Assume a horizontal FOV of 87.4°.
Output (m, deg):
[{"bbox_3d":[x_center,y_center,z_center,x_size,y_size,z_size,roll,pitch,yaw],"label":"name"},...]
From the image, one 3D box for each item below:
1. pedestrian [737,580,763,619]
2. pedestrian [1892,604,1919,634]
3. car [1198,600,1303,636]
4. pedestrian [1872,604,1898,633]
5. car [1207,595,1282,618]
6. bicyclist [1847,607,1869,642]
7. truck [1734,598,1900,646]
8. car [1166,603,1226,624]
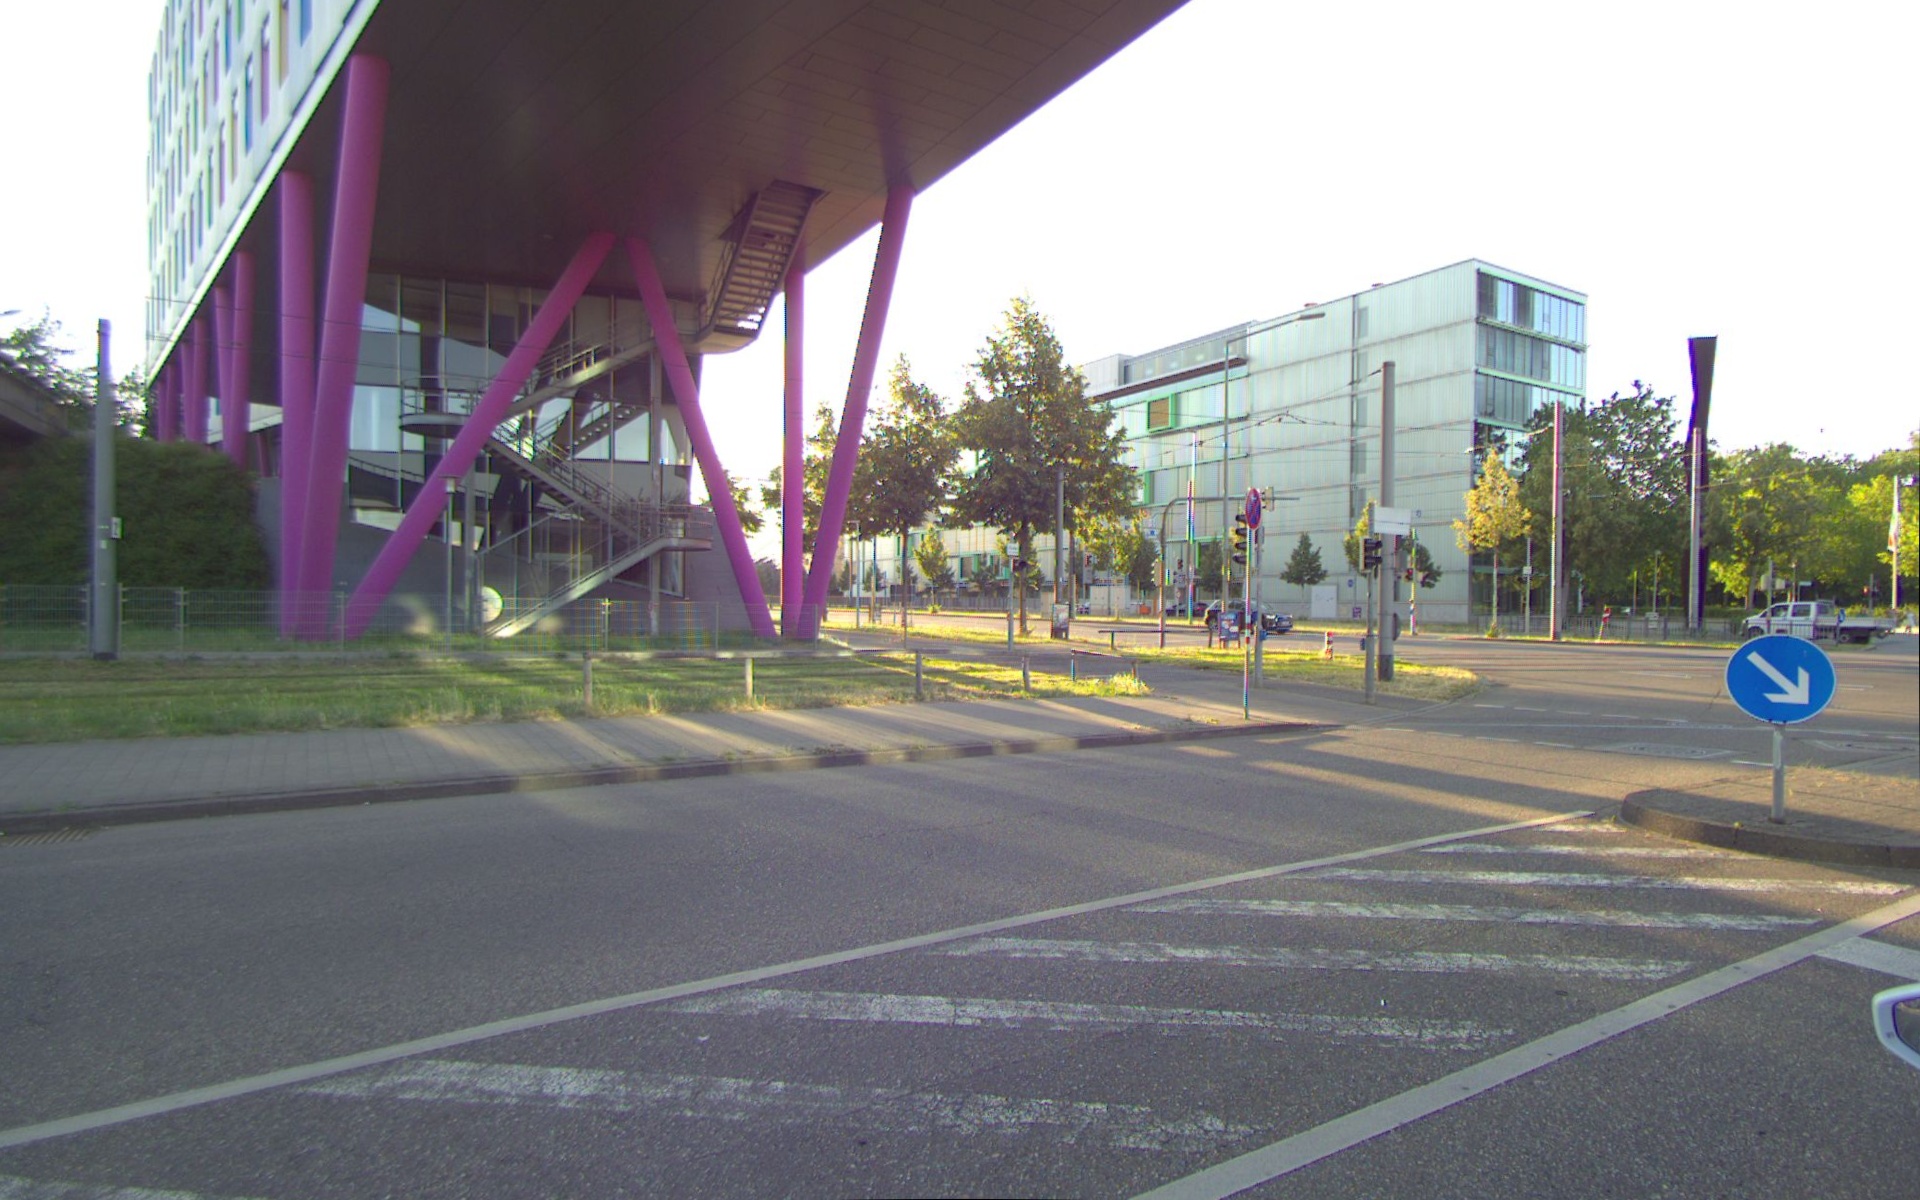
[{"bbox_3d":[-9.873,-0.009,47.188,0.926,1.747,0.873,1,-2,-41],"label":"pedestrian"},{"bbox_3d":[57.470,1.134,61.057,0.813,1.767,0.863,1,0,11],"label":"pedestrian"},{"bbox_3d":[13.300,0.800,46.194,1.968,1.577,4.448,1,0,-34],"label":"car"},{"bbox_3d":[56.435,1.135,61.283,0.813,1.767,0.863,1,0,10],"label":"pedestrian"},{"bbox_3d":[20.081,0.446,71.183,1.977,1.572,5.200,2,-1,-30],"label":"car"},{"bbox_3d":[45.063,1.205,50.394,0.741,1.732,0.916,1,0,38],"label":"bicyclist"},{"bbox_3d":[39.866,0.989,46.884,2.044,2.082,5.528,1,0,-31],"label":"truck"},{"bbox_3d":[19.620,1.103,83.742,1.977,1.572,5.075,2,-1,-30],"label":"car"}]
